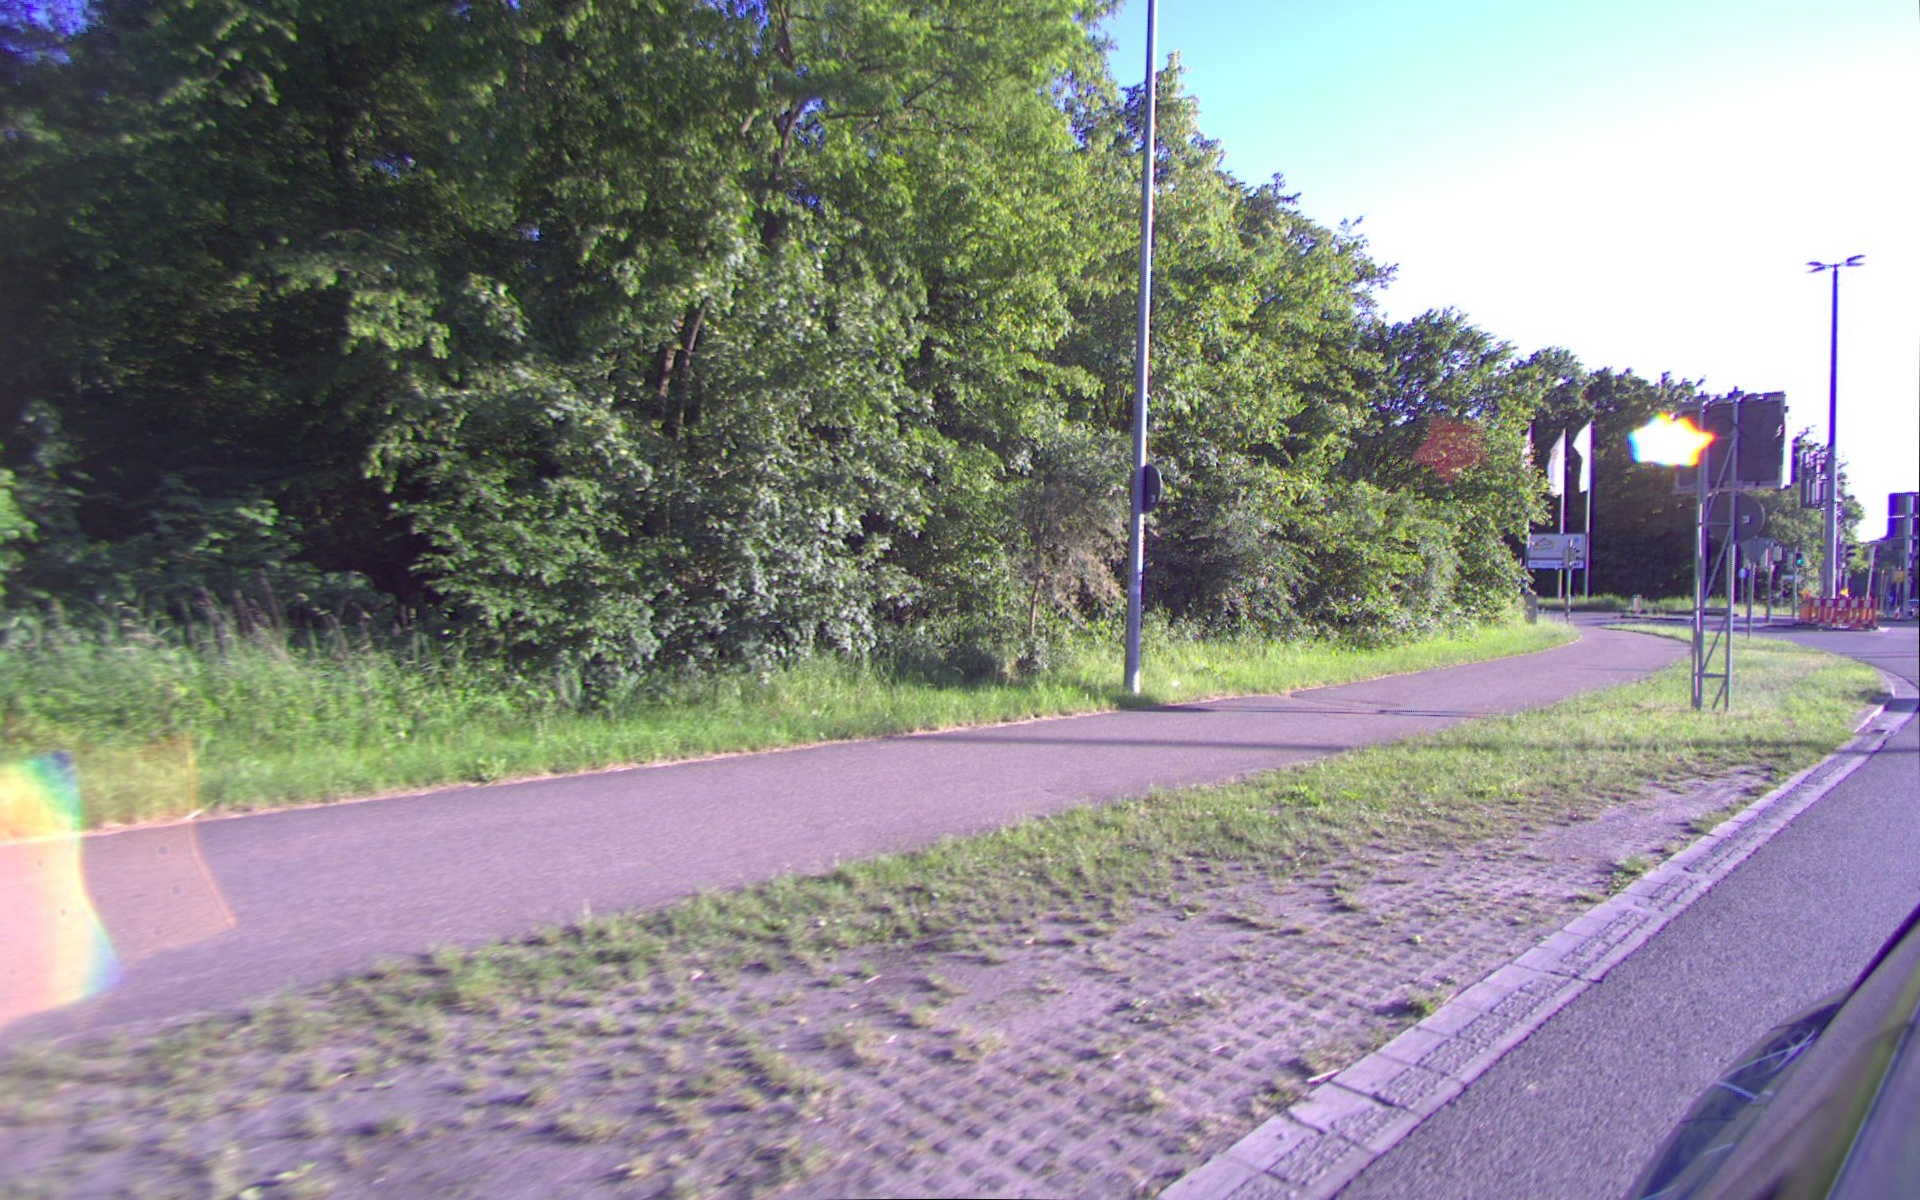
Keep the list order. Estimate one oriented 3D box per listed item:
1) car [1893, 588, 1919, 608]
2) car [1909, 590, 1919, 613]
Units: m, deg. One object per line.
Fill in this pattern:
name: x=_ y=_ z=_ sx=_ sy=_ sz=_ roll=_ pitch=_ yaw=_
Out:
car: x=80.670 y=-0.186 z=85.928 sx=1.994 sy=1.538 sz=3.936 roll=0 pitch=1 yaw=45
car: x=69.917 y=0.084 z=73.049 sx=1.994 sy=1.538 sz=3.936 roll=0 pitch=1 yaw=45
